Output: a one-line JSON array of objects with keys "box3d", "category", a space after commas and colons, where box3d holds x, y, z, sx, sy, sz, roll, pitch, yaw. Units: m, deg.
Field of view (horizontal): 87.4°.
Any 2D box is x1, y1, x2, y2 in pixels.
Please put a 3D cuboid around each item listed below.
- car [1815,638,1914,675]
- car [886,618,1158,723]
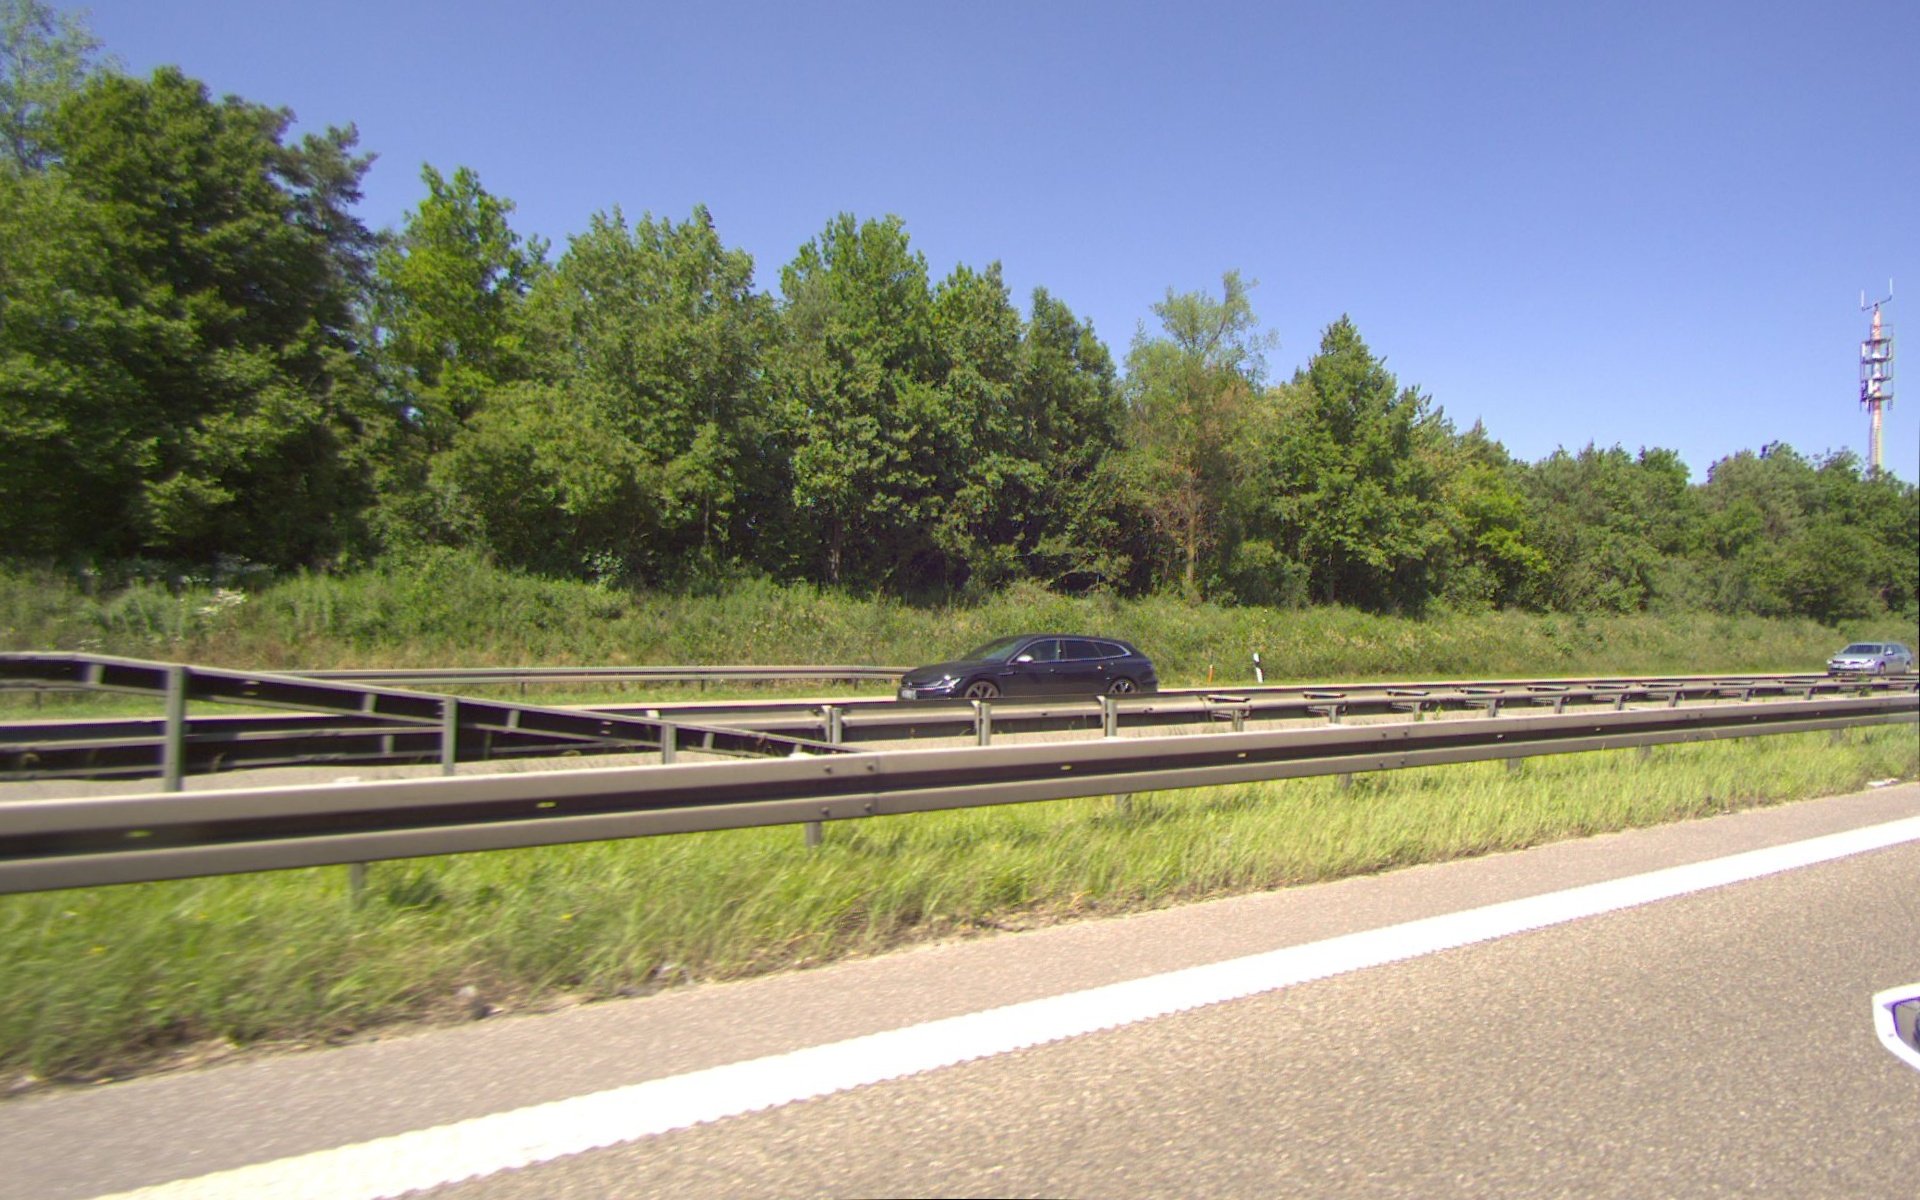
[{"box3d": [38.407, 2.368, 42.611, 4.881, 1.512, 1.621, 1, -3, -30], "category": "car"}, {"box3d": [1.090, 1.155, 17.017, 4.376, 1.588, 1.749, 1, -3, -30], "category": "car"}]
